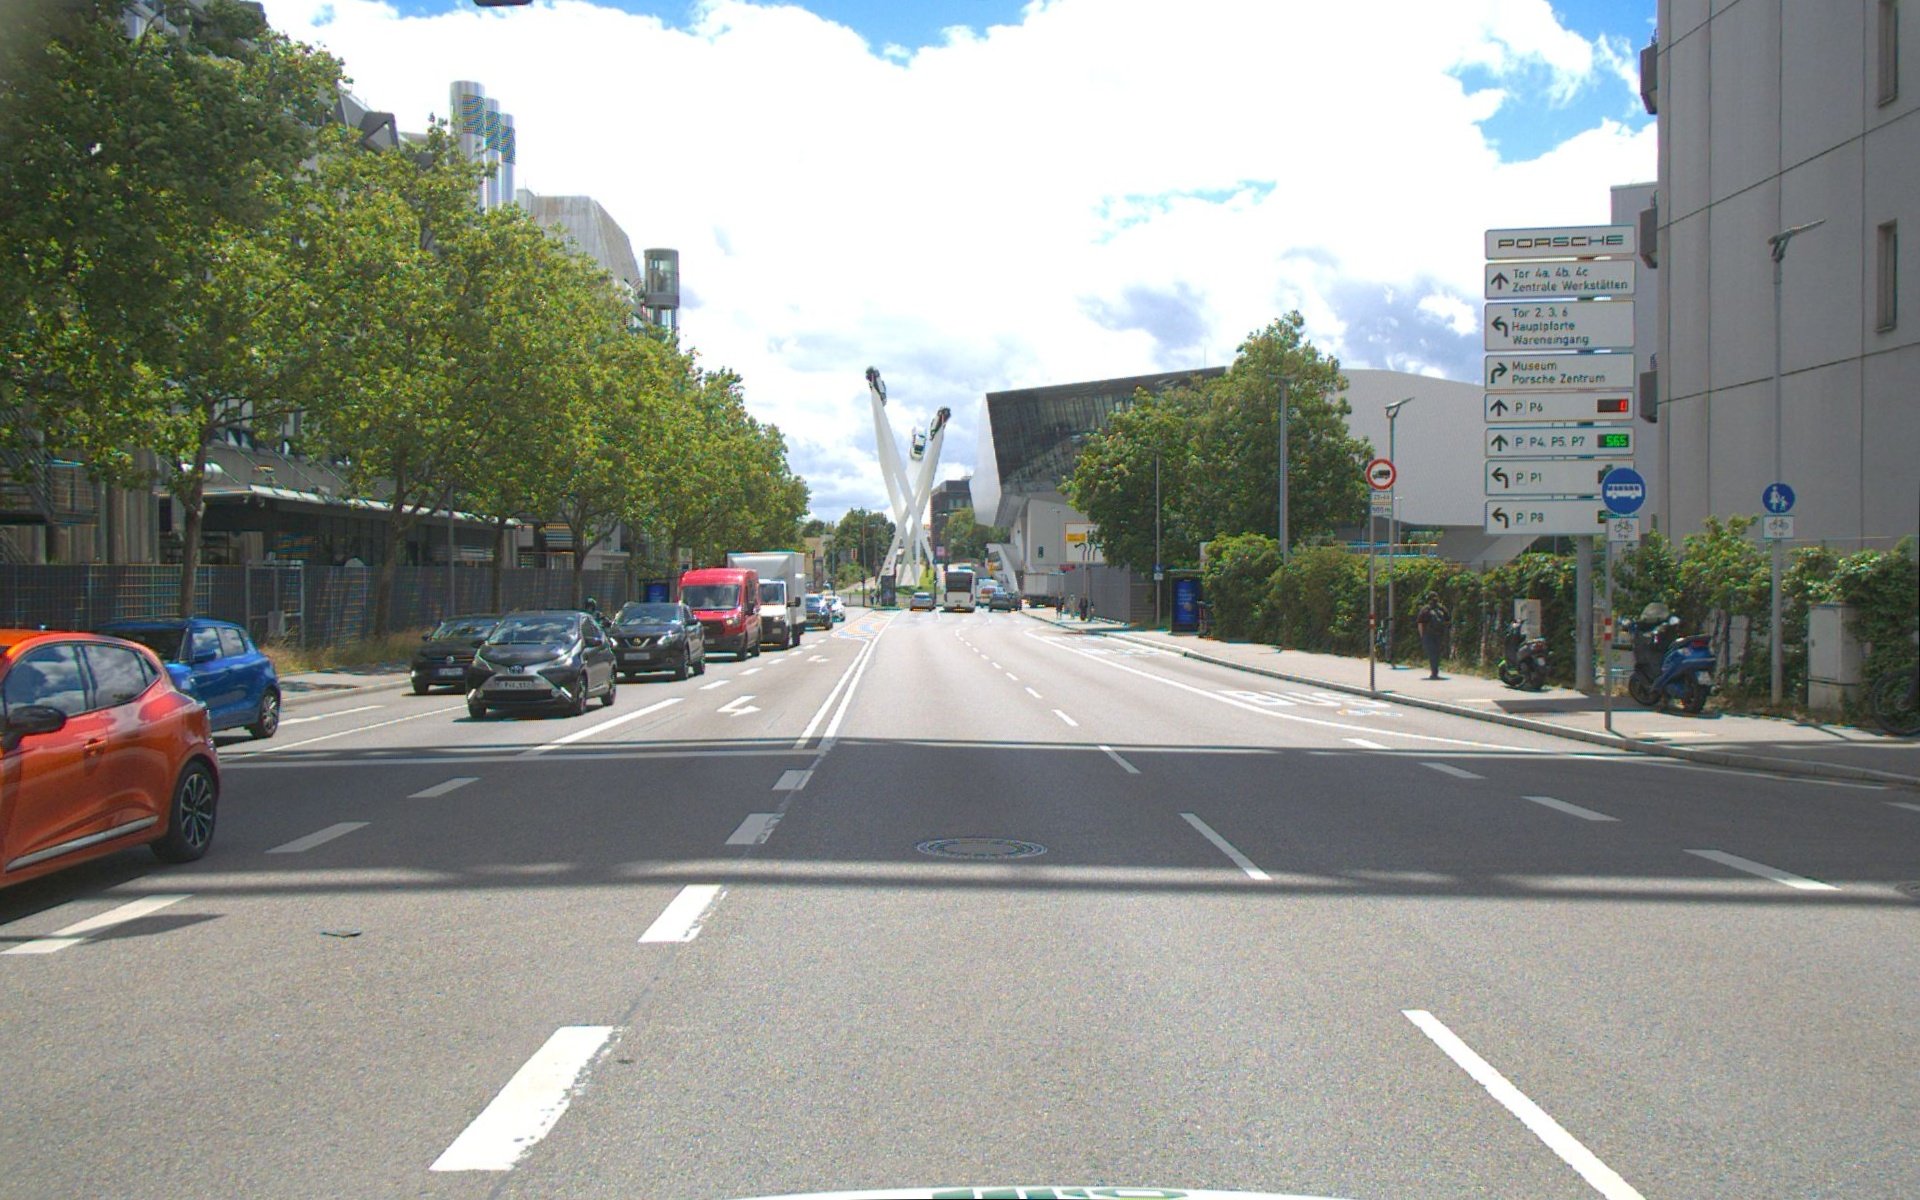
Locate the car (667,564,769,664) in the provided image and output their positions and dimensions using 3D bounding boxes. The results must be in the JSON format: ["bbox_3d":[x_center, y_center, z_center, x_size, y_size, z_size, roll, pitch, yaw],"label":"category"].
[{"bbox_3d":[-6.639,0.348,45.979,2.021,2.551,5.479,-2,0,-1],"label":"car"}]

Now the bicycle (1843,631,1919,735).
[{"bbox_3d":[11.177,0.937,18.811,1.929,1.147,0.544,-2,1,34],"label":"bicycle"}]

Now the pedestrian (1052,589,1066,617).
[{"bbox_3d":[6.322,0.208,105.627,0.778,1.751,0.731,1,-1,-2],"label":"pedestrian"}]

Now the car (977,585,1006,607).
[{"bbox_3d":[3.010,-0.385,155.313,1.951,1.966,4.244,1,0,12],"label":"car"}]

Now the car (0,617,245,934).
[{"bbox_3d":[-5.497,0.873,8.686,1.847,1.479,3.901,-2,0,-2],"label":"car"}]

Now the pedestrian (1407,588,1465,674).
[{"bbox_3d":[9.539,0.618,33.197,0.793,1.673,0.997,-2,0,-3],"label":"pedestrian"}]

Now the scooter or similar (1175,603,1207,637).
[{"bbox_3d":[8.538,0.728,61.056,0.530,1.183,2.126,-1,0,26],"label":"scooter or similar"}]

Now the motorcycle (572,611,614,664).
[{"bbox_3d":[-8.921,0.890,40.300,0.661,1.241,2.374,1,0,-5],"label":"motorcycle"}]

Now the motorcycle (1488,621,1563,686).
[{"bbox_3d":[10.054,0.932,29.468,0.579,1.086,2.036,-1,0,-1],"label":"motorcycle"}]

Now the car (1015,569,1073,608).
[{"bbox_3d":[8.228,-1.060,160.115,3.265,3.565,9.346,1,0,18],"label":"car"}]

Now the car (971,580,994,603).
[{"bbox_3d":[2.317,-0.871,169.314,1.951,2.209,4.658,1,0,4],"label":"car"}]

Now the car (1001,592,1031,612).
[{"bbox_3d":[4.935,0.188,144.805,1.951,1.665,4.003,1,0,12],"label":"car"}]

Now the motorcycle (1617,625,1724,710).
[{"bbox_3d":[10.068,0.929,23.505,0.579,1.086,2.037,-2,0,-1],"label":"motorcycle"}]

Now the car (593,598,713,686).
[{"bbox_3d":[-6.371,0.837,34.775,1.700,1.713,4.213,1,0,0],"label":"car"}]

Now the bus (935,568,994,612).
[{"bbox_3d":[0.483,-0.783,136.823,3.006,3.421,12.233,1,0,9],"label":"bus"}]

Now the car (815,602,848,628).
[{"bbox_3d":[-7.580,0.876,98.119,1.657,1.439,4.145,-2,0,-1],"label":"car"}]

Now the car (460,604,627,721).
[{"bbox_3d":[-6.033,0.853,24.302,1.526,1.531,3.612,-2,0,-1],"label":"car"}]

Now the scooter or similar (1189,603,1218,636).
[{"bbox_3d":[8.899,0.706,60.322,0.530,1.183,1.791,-1,0,26],"label":"scooter or similar"}]

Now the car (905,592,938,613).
[{"bbox_3d":[-3.099,0.214,132.726,1.951,1.665,4.003,1,0,9],"label":"car"}]

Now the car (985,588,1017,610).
[{"bbox_3d":[3.432,-0.089,136.757,1.951,1.665,4.004,1,1,12],"label":"car"}]

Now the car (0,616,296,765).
[{"bbox_3d":[-9.209,0.955,19.068,1.658,1.454,3.820,-1,0,-2],"label":"car"}]

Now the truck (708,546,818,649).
[{"bbox_3d":[-6.430,-0.061,55.029,2.401,3.183,7.245,1,0,3],"label":"truck"}]

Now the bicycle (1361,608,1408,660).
[{"bbox_3d":[10.262,0.800,40.054,0.434,1.200,2.468,1,0,-1],"label":"bicycle"}]

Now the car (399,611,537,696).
[{"bbox_3d":[-9.410,0.982,31.927,1.545,1.453,3.918,-2,0,-2],"label":"car"}]

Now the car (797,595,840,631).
[{"bbox_3d":[-6.736,0.591,78.992,1.704,1.608,4.266,-2,0,-1],"label":"car"}]

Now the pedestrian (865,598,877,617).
[{"bbox_3d":[-8.398,0.726,156.174,0.849,1.805,1.031,1,-1,-15],"label":"pedestrian"}]

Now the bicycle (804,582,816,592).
[{"bbox_3d":[-20.798,-1.784,229.085,1.573,1.407,0.492,1,-1,-2],"label":"bicycle"}]

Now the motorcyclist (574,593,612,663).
[{"bbox_3d":[-8.931,0.674,40.275,0.718,1.651,1.094,1,-1,-4],"label":"motorcyclist"}]
